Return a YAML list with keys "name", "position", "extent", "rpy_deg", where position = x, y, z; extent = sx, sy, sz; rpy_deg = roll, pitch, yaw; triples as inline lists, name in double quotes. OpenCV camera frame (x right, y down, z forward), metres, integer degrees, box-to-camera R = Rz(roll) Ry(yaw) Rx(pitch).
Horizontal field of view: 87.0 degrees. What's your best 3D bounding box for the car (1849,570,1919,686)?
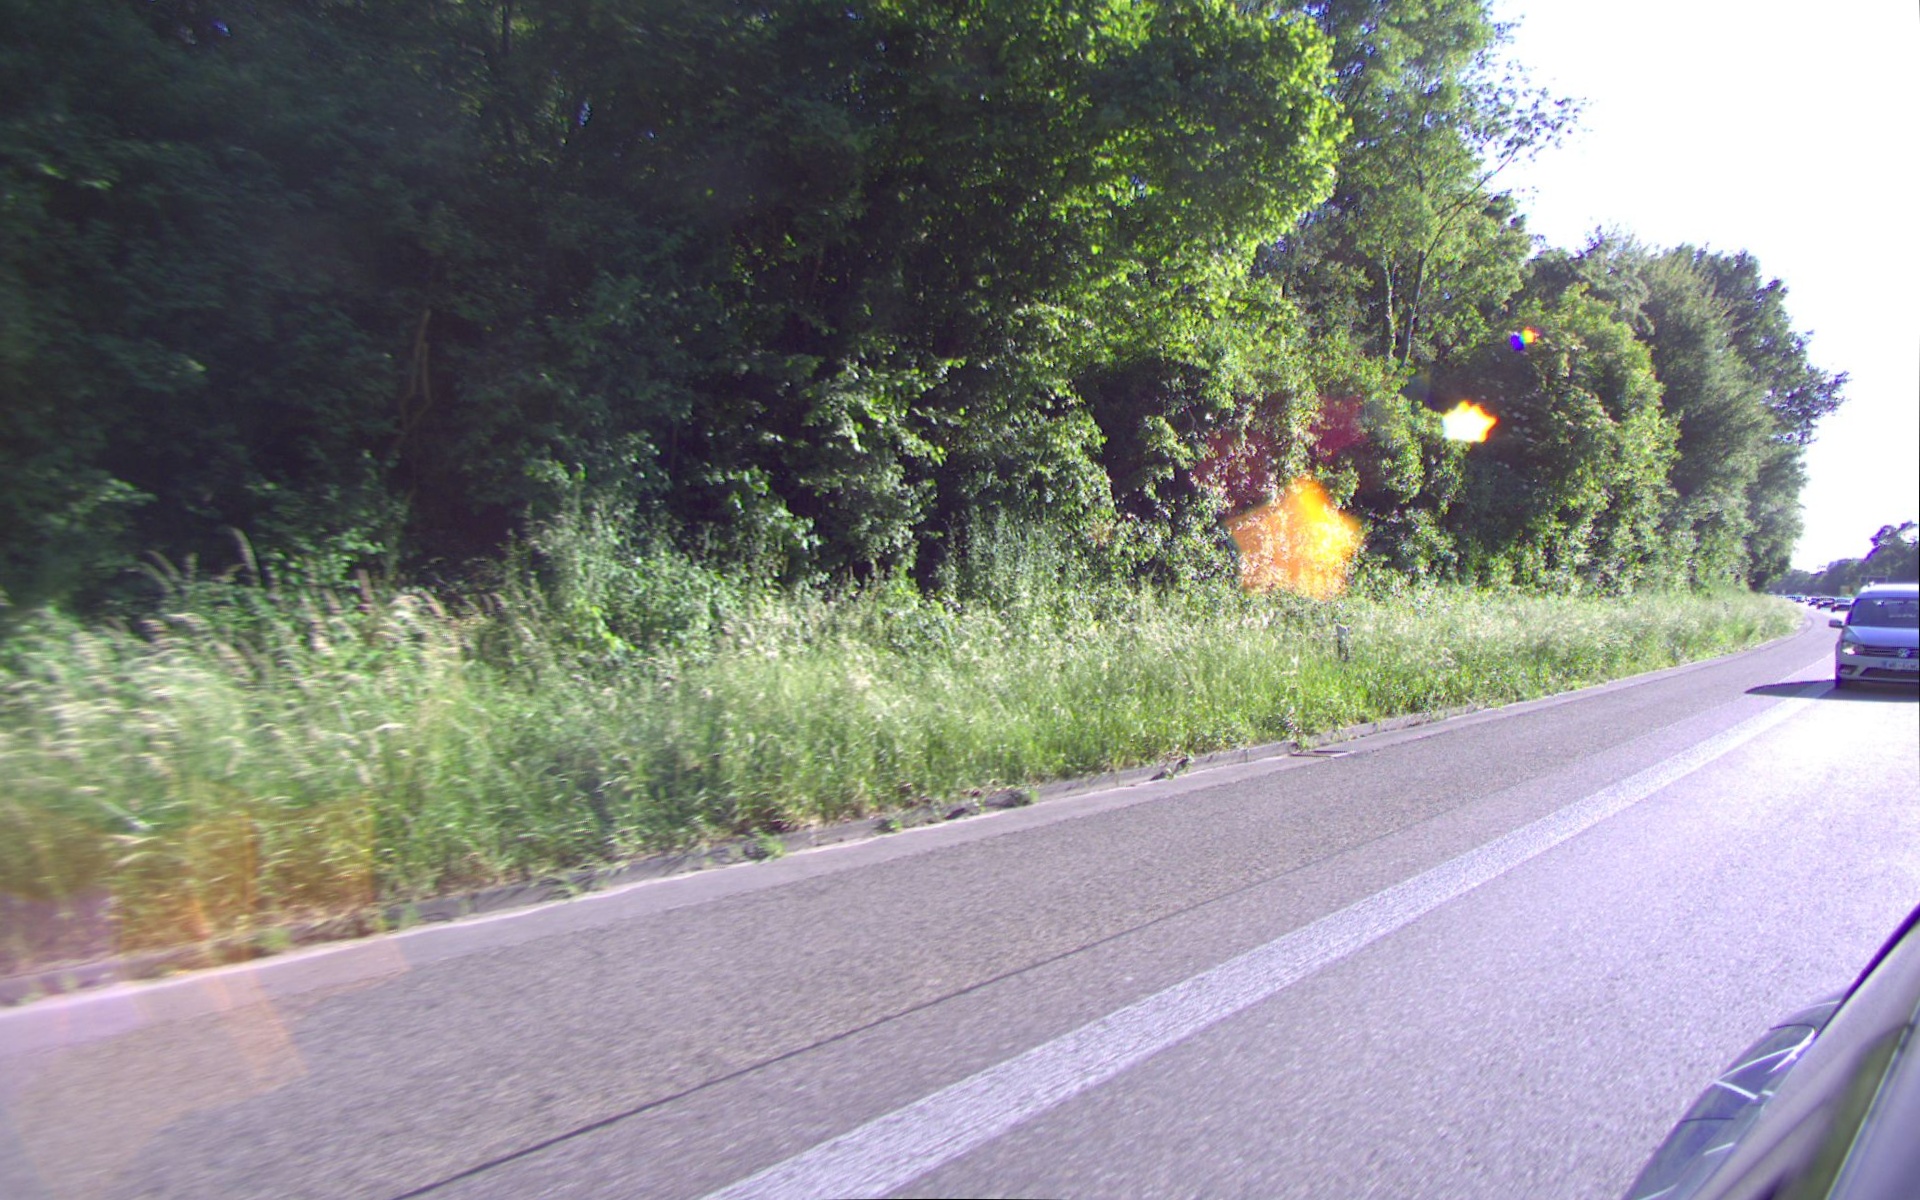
- name: "car"
  position: [16.800, 0.413, 17.591]
  extent: [1.795, 1.829, 4.756]
  rpy_deg: [1, 1, 44]
